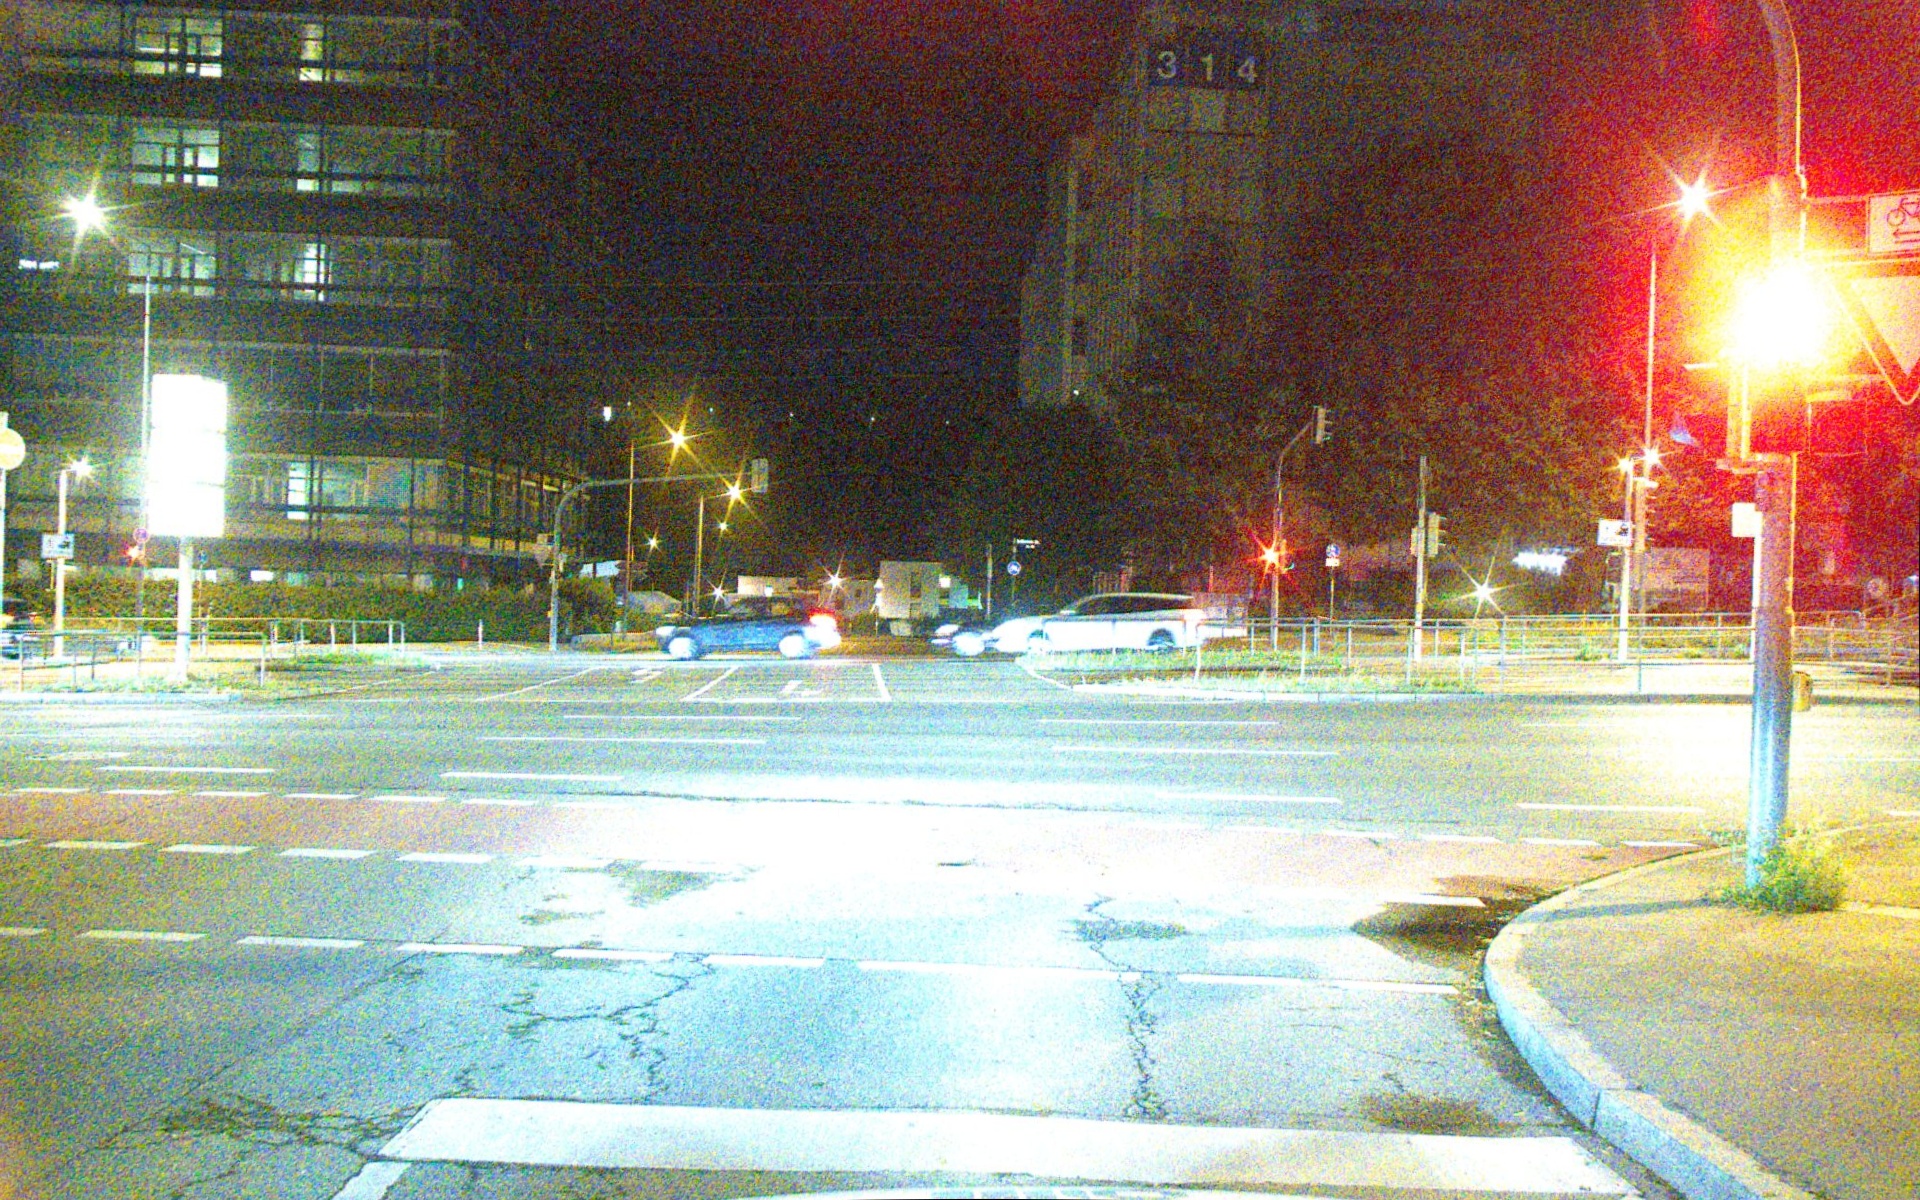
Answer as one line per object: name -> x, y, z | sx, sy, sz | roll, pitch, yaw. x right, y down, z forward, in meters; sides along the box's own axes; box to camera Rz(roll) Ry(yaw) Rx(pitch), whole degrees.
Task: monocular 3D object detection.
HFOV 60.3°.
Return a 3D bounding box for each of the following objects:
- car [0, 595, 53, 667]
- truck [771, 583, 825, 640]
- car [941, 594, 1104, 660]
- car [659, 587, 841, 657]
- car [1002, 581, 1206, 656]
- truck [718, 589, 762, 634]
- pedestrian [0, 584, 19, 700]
car -> -23.562, 0.685, 38.438 | 3.905, 1.613, 1.803 | 1, -1, 0
truck -> -14.626, 1.030, 148.606 | 3.307, 4.927, 7.868 | 2, -1, -17
car -> 1.617, 0.713, 43.298 | 4.146, 1.613, 1.887 | 1, -1, 1
car -> -5.116, 0.543, 40.700 | 4.145, 1.613, 1.804 | 1, -1, 3
car -> 3.195, 0.390, 37.335 | 4.476, 1.612, 1.847 | 0, 1, 1
truck -> -16.007, 0.872, 120.142 | 2.377, 3.143, 6.414 | 2, -1, -14
pedestrian -> -14.754, 0.623, 24.912 | 0.663, 1.752, 0.706 | 1, -1, 25
